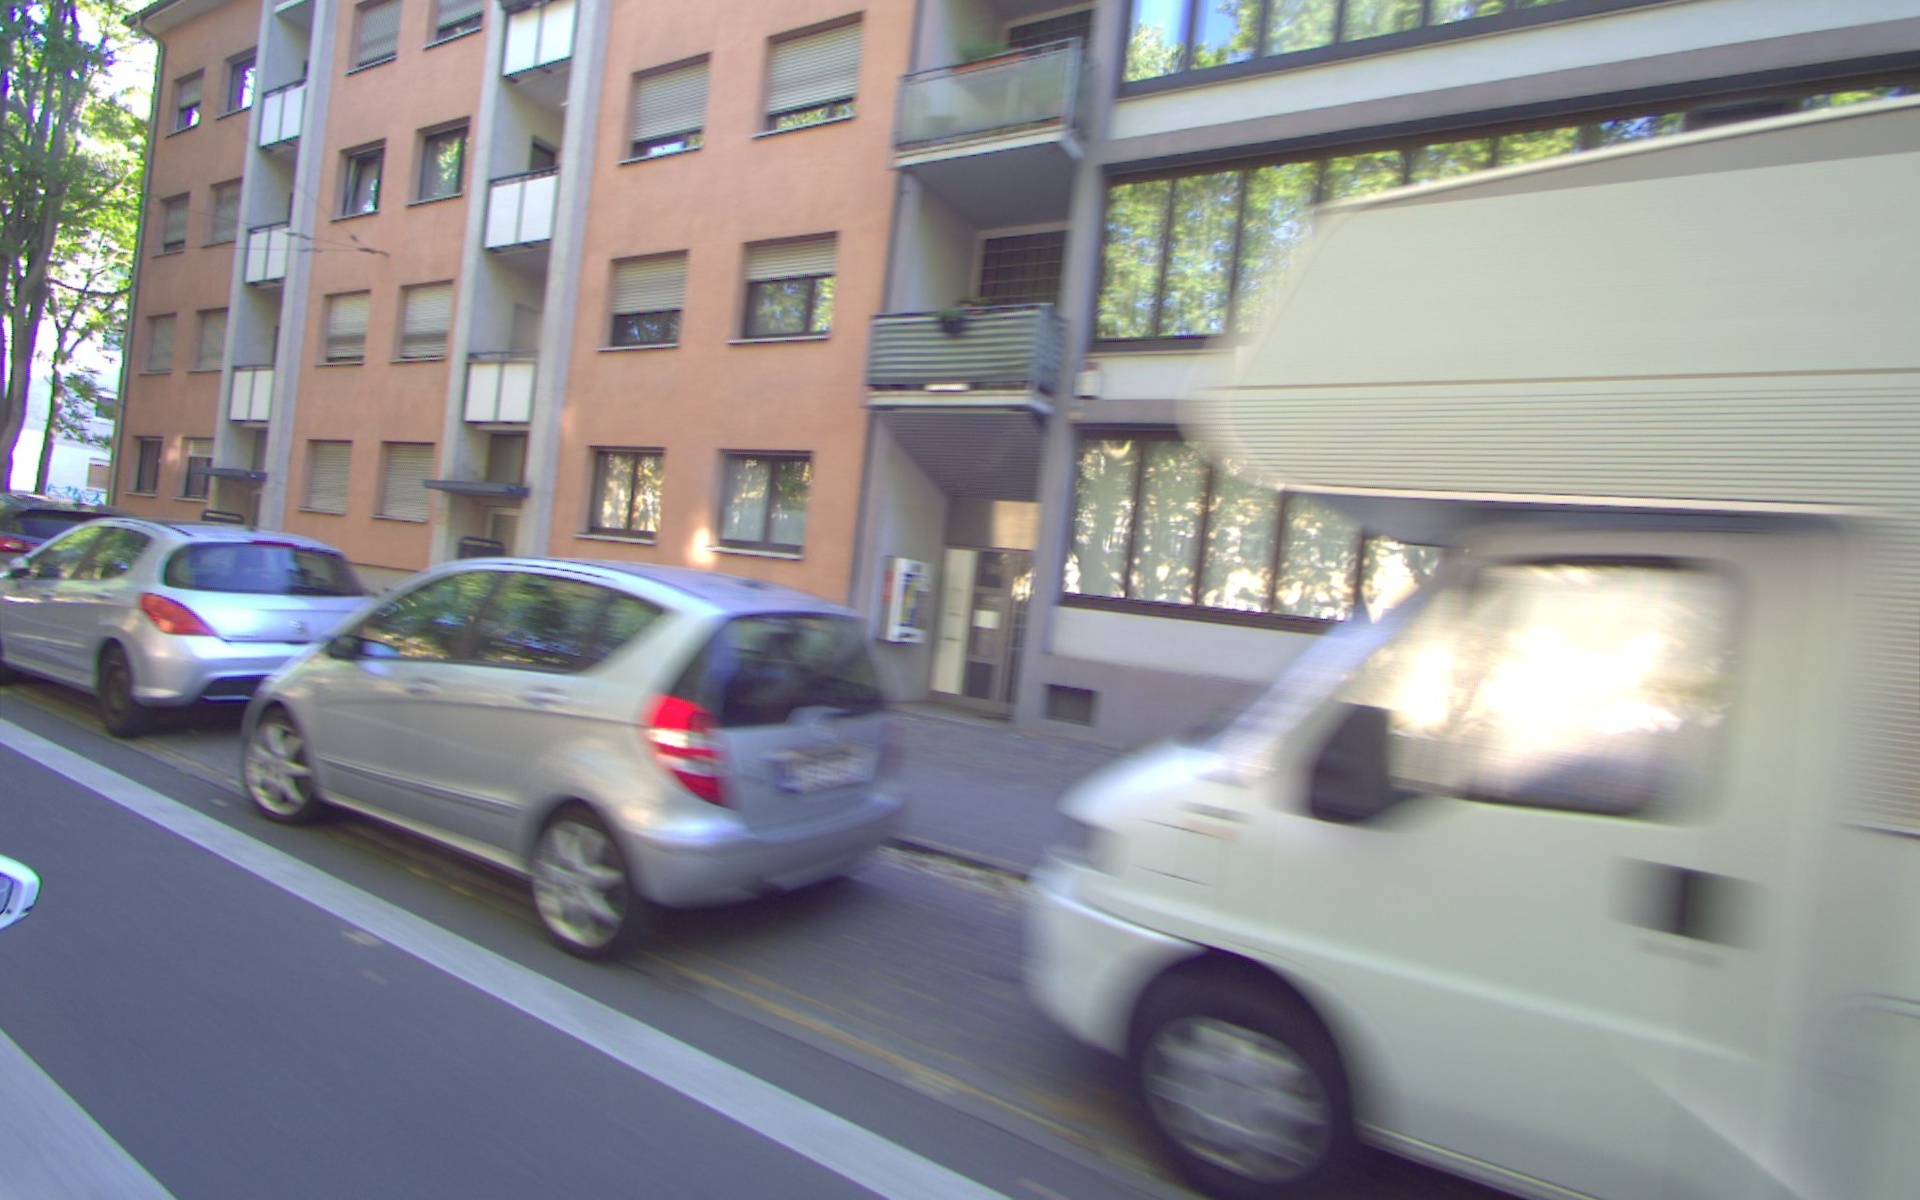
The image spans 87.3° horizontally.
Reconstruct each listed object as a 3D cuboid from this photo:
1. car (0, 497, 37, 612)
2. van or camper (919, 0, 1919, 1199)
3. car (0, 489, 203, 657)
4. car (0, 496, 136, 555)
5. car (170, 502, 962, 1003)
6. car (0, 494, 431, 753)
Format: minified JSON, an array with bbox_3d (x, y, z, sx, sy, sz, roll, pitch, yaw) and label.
[{"bbox_3d":[-14.704,-0.838,13.945,4.099,1.491,1.707,7,0,32],"label":"car"},{"bbox_3d":[3.269,0.401,2.536,6.163,3.104,2.464,7,2,31],"label":"van or camper"},{"bbox_3d":[-10.510,-0.418,11.262,4.265,1.593,1.769,6,1,32],"label":"car"},{"bbox_3d":[-32.457,-2.693,36.246,1.535,1.500,3.920,10,1,31],"label":"car"},{"bbox_3d":[-2.308,0.492,5.520,4.205,1.649,1.794,7,1,32],"label":"car"},{"bbox_3d":[-6.515,0.058,8.343,4.250,1.542,1.789,6,1,32],"label":"car"}]
